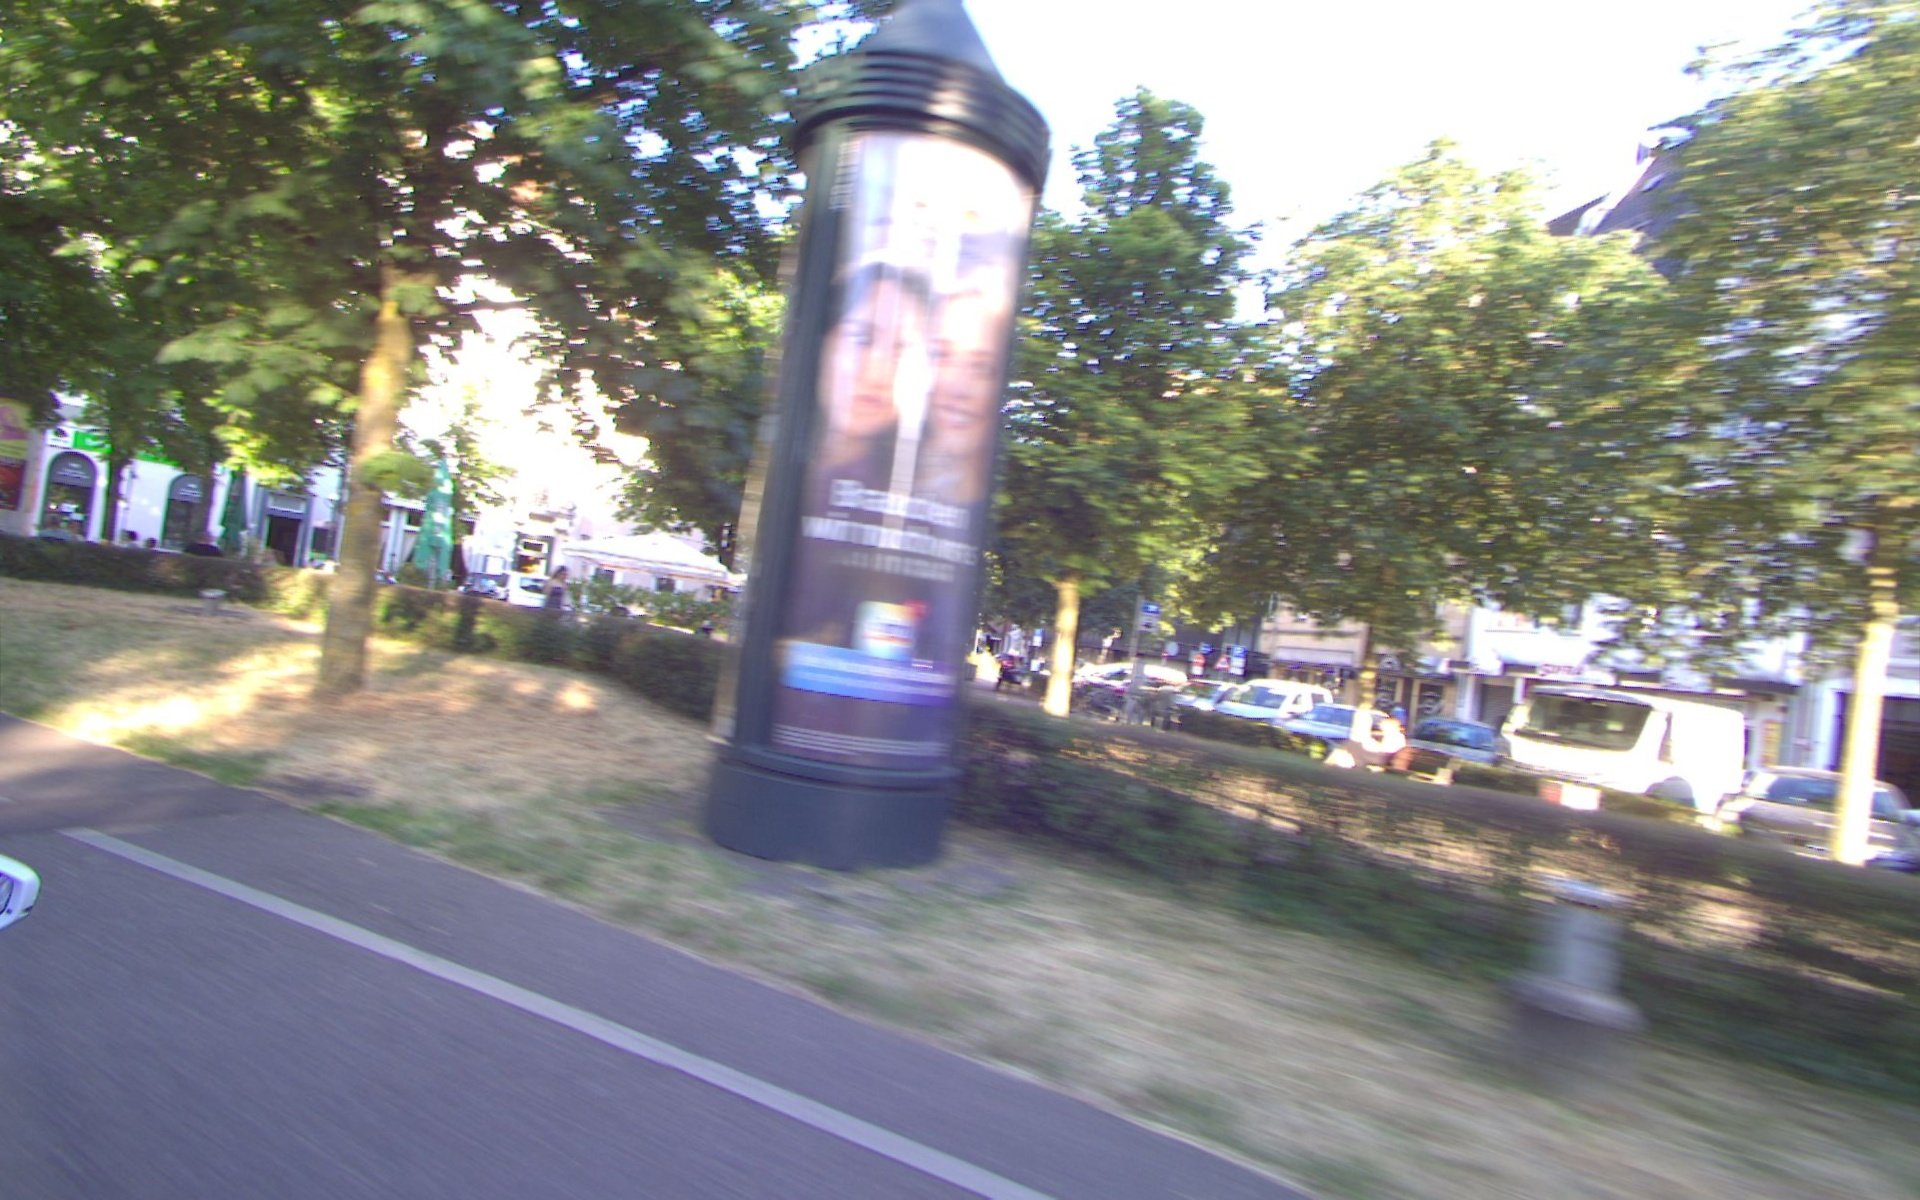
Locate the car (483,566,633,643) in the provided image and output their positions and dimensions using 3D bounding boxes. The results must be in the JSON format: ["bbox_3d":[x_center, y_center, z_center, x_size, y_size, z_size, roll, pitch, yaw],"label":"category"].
[{"bbox_3d":[-14.195,0.172,35.579,4.401,2.036,1.981,10,-3,-36],"label":"car"}]

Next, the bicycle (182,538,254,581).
[{"bbox_3d":[-27.019,-1.468,36.648,1.972,1.259,0.680,10,-2,-37],"label":"bicycle"}]

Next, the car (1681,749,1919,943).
[{"bbox_3d":[10.375,2.872,12.270,1.927,1.621,3.984,6,-4,44],"label":"car"}]

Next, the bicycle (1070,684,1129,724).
[{"bbox_3d":[3.403,2.535,24.535,1.255,0.788,0.445,8,-2,-14],"label":"bicycle"}]

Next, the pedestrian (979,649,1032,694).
[{"bbox_3d":[1.536,2.403,33.670,1.426,1.263,1.035,8,-2,16],"label":"pedestrian"}]

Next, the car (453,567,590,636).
[{"bbox_3d":[-17.326,0.080,39.830,4.478,1.985,2.003,10,-3,-37],"label":"car"}]

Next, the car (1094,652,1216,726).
[{"bbox_3d":[6.226,2.843,31.825,1.886,1.792,3.988,6,-4,41],"label":"car"}]

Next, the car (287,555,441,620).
[{"bbox_3d":[-21.526,-0.439,36.429,4.478,1.634,2.003,11,-4,-37],"label":"car"}]

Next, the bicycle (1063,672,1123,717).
[{"bbox_3d":[3.539,2.517,26.796,1.449,1.007,0.324,8,-1,-8],"label":"bicycle"}]

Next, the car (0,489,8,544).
[{"bbox_3d":[-30.967,-2.698,29.179,4.478,1.985,2.003,10,-3,-37],"label":"car"}]

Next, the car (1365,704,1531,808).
[{"bbox_3d":[9.144,2.891,18.675,1.970,1.413,3.992,7,-4,37],"label":"car"}]

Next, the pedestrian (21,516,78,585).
[{"bbox_3d":[-17.977,-0.960,19.873,0.562,1.259,0.609,8,-1,-26],"label":"pedestrian"}]

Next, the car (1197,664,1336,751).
[{"bbox_3d":[7.957,2.806,25.870,1.970,1.724,3.991,7,-4,38],"label":"car"}]

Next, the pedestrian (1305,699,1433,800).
[{"bbox_3d":[6.127,2.225,15.106,1.348,1.239,0.960,9,-2,-10],"label":"pedestrian"}]

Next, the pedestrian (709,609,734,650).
[{"bbox_3d":[-7.118,0.881,30.037,0.549,1.129,0.492,8,-2,-16],"label":"pedestrian"}]

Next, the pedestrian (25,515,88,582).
[{"bbox_3d":[-18.793,-1.070,20.938,0.775,1.256,0.978,10,-3,-39],"label":"pedestrian"}]

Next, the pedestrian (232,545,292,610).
[{"bbox_3d":[-15.215,-0.480,21.959,0.655,1.254,0.947,13,-5,-22],"label":"pedestrian"}]

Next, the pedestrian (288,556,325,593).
[{"bbox_3d":[-24.861,-0.965,38.277,1.019,1.259,0.680,9,-2,-37],"label":"pedestrian"}]

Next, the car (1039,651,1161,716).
[{"bbox_3d":[5.269,3.142,37.933,3.946,1.792,1.906,10,-3,-19],"label":"car"}]

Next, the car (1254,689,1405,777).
[{"bbox_3d":[8.314,2.996,22.424,1.970,1.502,3.992,7,-4,37],"label":"car"}]

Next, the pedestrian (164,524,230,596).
[{"bbox_3d":[-15.955,-0.811,21.063,0.722,1.371,1.010,7,-2,-23],"label":"pedestrian"}]

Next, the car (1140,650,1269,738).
[{"bbox_3d":[7.177,2.790,29.307,1.970,2.035,3.991,7,-4,38],"label":"car"}]

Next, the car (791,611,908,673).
[{"bbox_3d":[-4.710,1.819,43.242,4.401,2.036,1.981,10,-3,-36],"label":"car"}]

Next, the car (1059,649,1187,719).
[{"bbox_3d":[5.663,2.917,34.791,3.964,1.792,1.897,11,-3,-32],"label":"car"}]

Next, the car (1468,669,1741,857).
[{"bbox_3d":[10.121,2.571,15.625,4.851,2.265,2.071,11,-4,-40],"label":"car"}]

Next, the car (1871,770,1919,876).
[{"bbox_3d":[19.716,4.434,18.464,1.920,1.907,3.995,6,-2,-11],"label":"car"}]

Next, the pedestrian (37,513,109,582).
[{"bbox_3d":[-19.663,-1.160,22.308,0.949,1.296,0.655,15,-6,-44],"label":"pedestrian"}]

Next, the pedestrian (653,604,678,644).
[{"bbox_3d":[-8.804,0.714,30.066,0.549,1.129,0.457,8,-2,-16],"label":"pedestrian"}]

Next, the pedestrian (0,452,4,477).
[{"bbox_3d":[-7.379,-0.260,6.986,0.578,1.763,0.644,8,-2,0],"label":"pedestrian"}]

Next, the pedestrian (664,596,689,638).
[{"bbox_3d":[-8.310,0.502,29.536,0.549,1.129,0.492,8,-2,-16],"label":"pedestrian"}]
